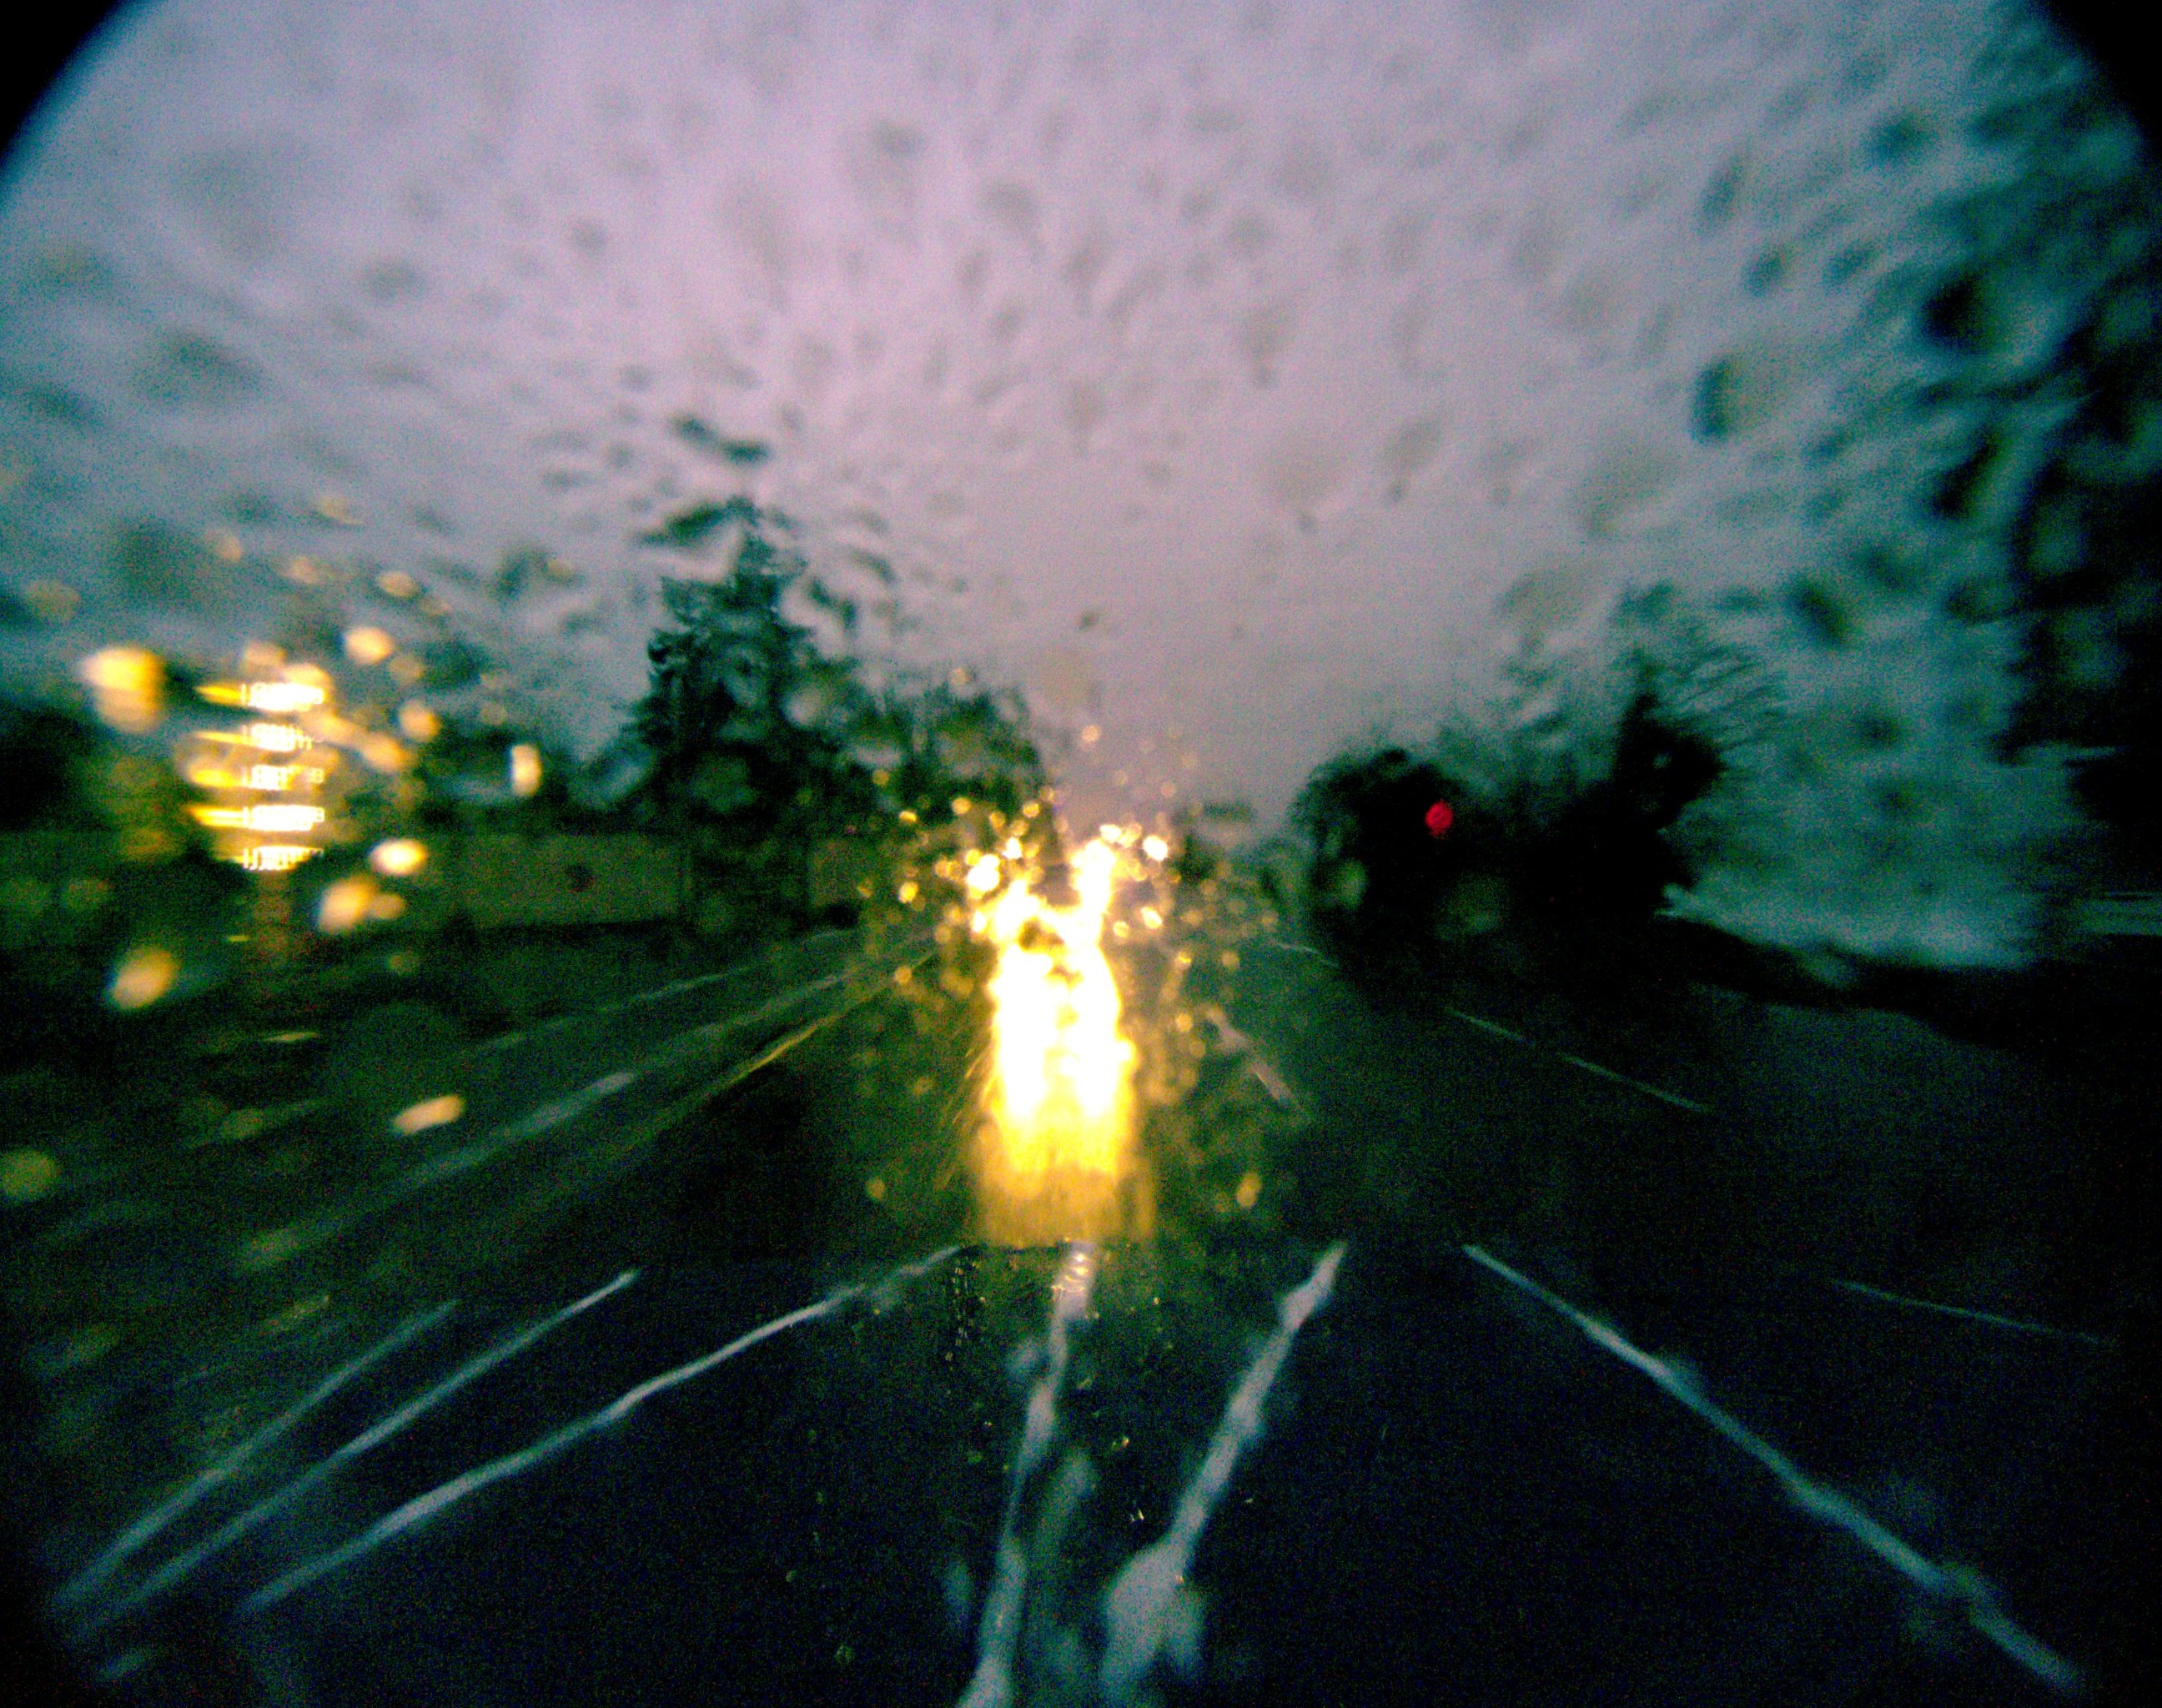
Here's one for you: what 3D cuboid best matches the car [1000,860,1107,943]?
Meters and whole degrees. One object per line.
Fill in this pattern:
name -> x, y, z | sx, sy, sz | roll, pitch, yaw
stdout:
car -> -0.678, 0.923, 16.571 | 2.016, 1.484, 3.998 | -1, 0, -5

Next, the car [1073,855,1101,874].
car -> 0.466, 0.861, 62.879 | 2.016, 1.484, 3.998 | -1, 0, -5

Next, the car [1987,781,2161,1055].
car -> 11.929, 0.593, 6.882 | 5.116, 2.376, 2.080 | 1, 0, -3

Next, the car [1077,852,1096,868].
car -> 0.636, 0.646, 82.198 | 1.933, 1.701, 4.000 | -1, 0, 1
